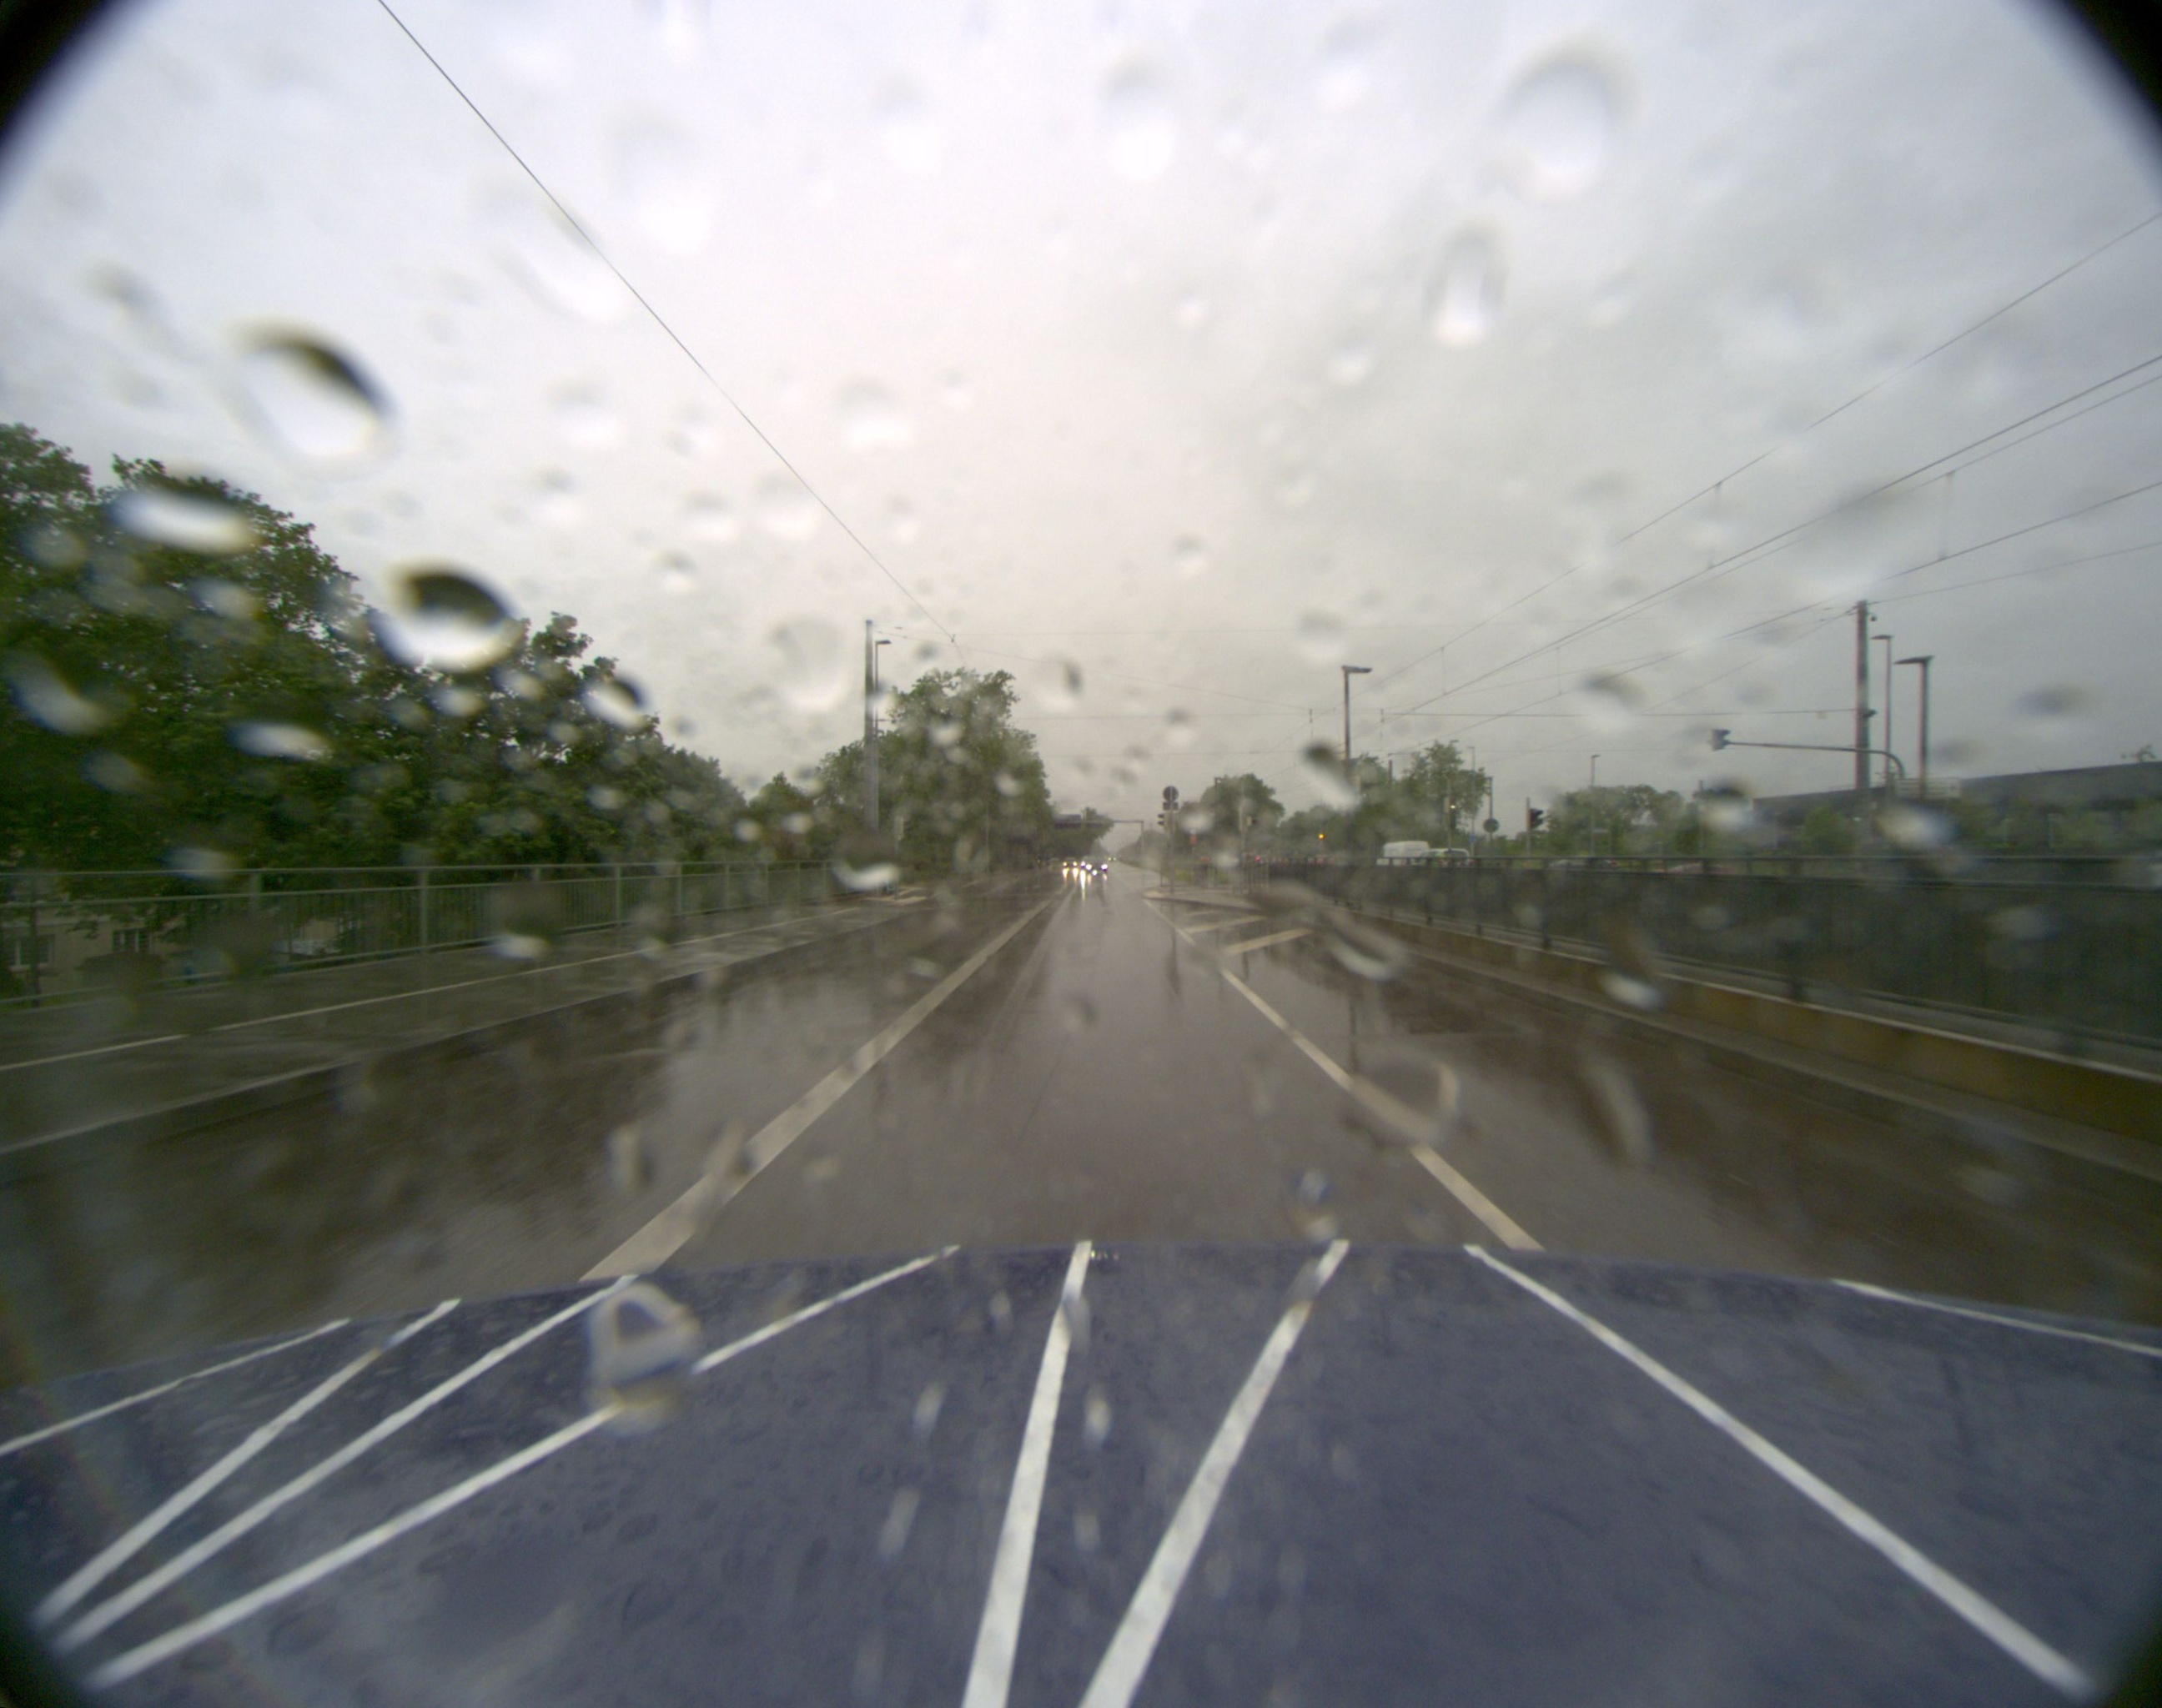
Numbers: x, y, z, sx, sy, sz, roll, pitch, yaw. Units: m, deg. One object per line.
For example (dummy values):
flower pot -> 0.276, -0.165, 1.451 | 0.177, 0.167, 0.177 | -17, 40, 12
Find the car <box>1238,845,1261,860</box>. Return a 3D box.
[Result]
car -> 20.336, -0.207, 91.909 | 1.998, 1.761, 4.258 | -1, 0, 1

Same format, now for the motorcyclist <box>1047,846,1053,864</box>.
motorcyclist -> -4.088, 0.138, 100.018 | 0.762, 2.246, 0.916 | -1, 1, 2

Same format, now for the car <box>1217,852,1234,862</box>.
car -> 24.093, 0.497, 126.785 | 1.998, 1.477, 4.299 | -1, 0, 1

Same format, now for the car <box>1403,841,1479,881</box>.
car -> 19.662, 0.366, 41.753 | 1.998, 2.002, 4.753 | -2, 0, 1

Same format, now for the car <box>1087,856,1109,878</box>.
car -> 1.657, 1.215, 71.513 | 1.998, 2.002, 4.000 | -1, 0, 2

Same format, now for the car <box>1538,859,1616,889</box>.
car -> 32.963, 1.335, 50.639 | 3.991, 1.849, 2.003 | -1, 0, 22

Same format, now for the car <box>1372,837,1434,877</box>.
car -> 23.193, 0.214, 54.979 | 2.125, 2.697, 5.738 | -1, 0, 2

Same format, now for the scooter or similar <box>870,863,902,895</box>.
scooter or similar -> -8.109, 1.026, 31.686 | 0.761, 1.285, 1.647 | -1, 1, 4

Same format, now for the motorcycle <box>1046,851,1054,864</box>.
motorcycle -> -4.082, 0.408, 100.134 | 0.845, 1.710, 2.586 | -1, 0, 2

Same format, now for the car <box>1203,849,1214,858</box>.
car -> 24.995, -0.082, 148.798 | 1.605, 1.580, 3.619 | -1, 1, 2

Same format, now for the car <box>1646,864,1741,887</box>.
car -> 39.787, 1.365, 49.445 | 4.367, 1.433, 2.002 | 0, 0, 11

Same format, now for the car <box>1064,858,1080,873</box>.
car -> -1.180, 1.498, 100.789 | 1.999, 2.002, 3.999 | -1, 0, -2

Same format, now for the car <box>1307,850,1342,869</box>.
car -> 23.069, 0.510, 72.158 | 1.998, 1.697, 4.625 | -1, 0, 1

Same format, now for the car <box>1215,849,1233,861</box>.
car -> 21.205, 0.118, 112.926 | 1.998, 1.586, 4.381 | 3, 0, 2

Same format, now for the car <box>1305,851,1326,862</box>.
car -> 36.908, 0.374, 119.477 | 1.994, 1.671, 4.548 | -1, 0, 31

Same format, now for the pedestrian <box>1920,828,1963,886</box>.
pedestrian -> 30.281, 0.106, 26.743 | 0.700, 2.002, 0.697 | -1, 1, 2
